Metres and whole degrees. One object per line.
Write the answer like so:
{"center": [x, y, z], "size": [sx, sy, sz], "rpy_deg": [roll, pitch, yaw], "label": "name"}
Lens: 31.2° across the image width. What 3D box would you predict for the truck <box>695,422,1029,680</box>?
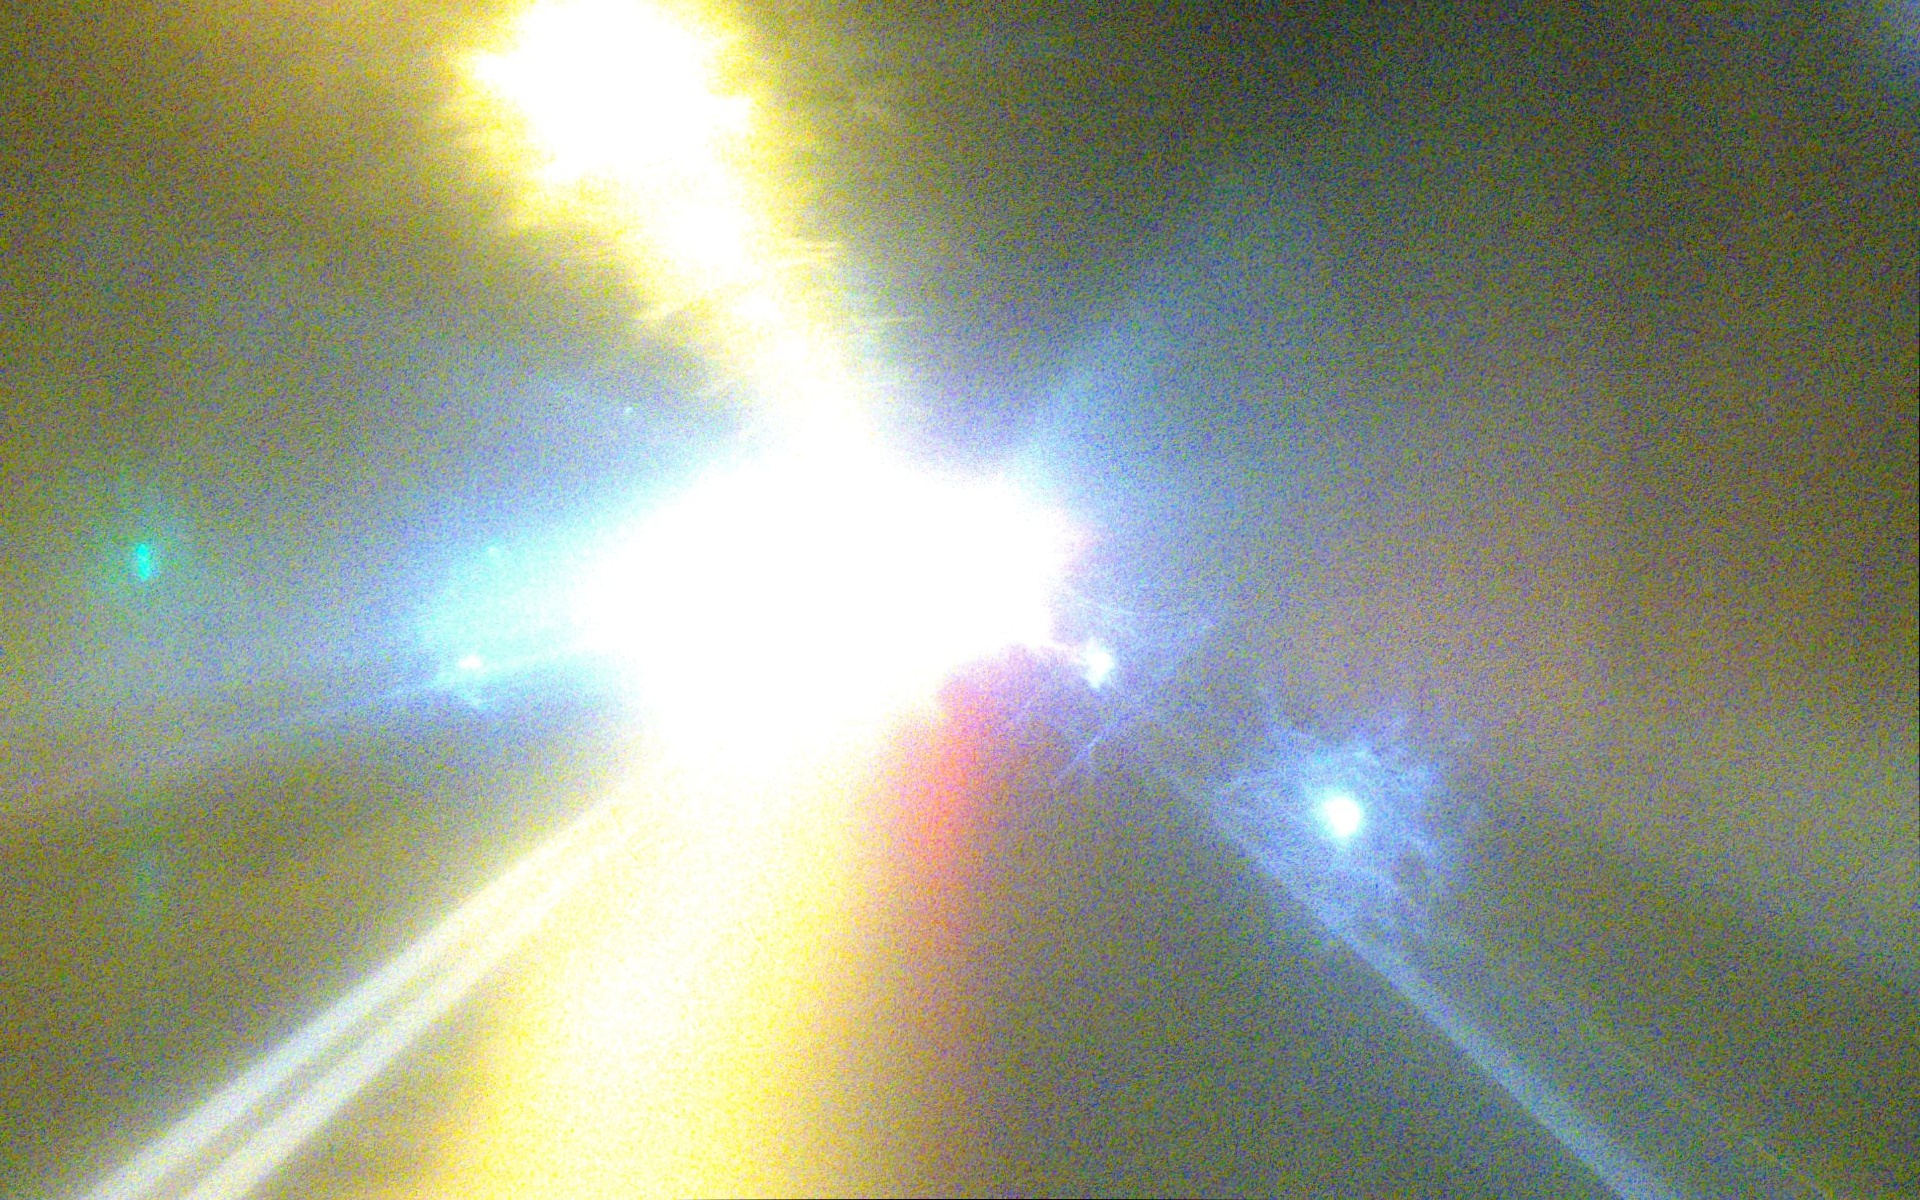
{"center": [-1.080, -0.597, 41.645], "size": [3.535, 2.684, 8.956], "rpy_deg": [-2, 1, 0], "label": "truck"}
